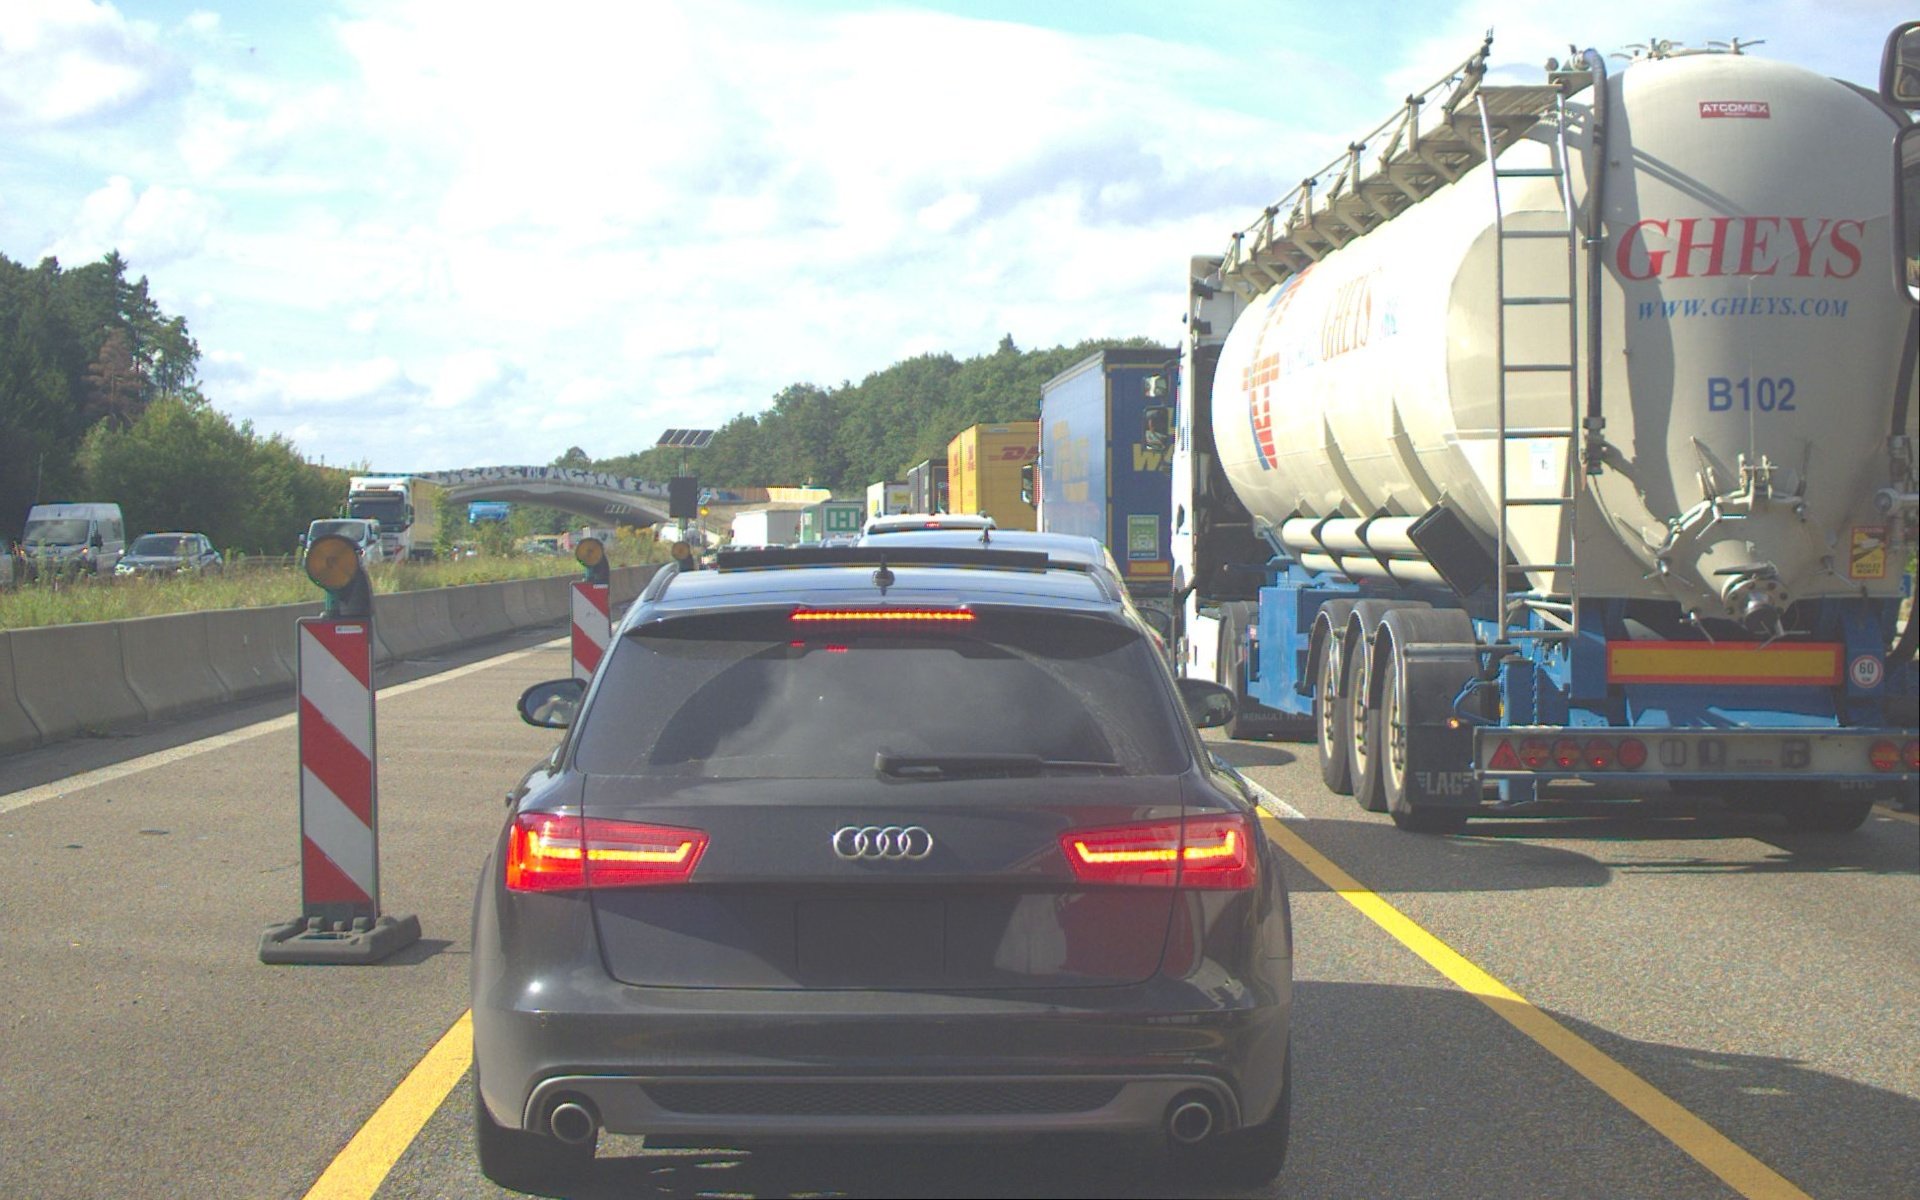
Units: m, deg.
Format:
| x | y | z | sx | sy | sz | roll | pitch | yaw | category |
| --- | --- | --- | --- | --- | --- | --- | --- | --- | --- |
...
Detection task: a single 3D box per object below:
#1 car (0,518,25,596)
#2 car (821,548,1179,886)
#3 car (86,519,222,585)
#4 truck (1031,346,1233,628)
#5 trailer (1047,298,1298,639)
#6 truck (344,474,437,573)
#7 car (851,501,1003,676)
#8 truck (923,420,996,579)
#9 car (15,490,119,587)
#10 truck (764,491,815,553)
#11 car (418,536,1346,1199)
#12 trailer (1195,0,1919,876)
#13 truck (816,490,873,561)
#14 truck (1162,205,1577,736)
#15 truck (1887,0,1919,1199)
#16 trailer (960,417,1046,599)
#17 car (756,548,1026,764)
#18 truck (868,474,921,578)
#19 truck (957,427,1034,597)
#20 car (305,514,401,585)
| x | y | z | sx | sy | sz | roll | pitch | yaw | category |
| --- | --- | --- | --- | --- | --- | --- | --- | --- | --- |
| -25.513 | -1.115 | 88.178 | 1.993 | 2.007 | 4.000 | 1 | 1 | -1 | car |
| 0.154 | 0.489 | 16.474 | 1.524 | 1.434 | 3.285 | 1 | 1 | -1 | car |
| -17.483 | -1.031 | 74.780 | 1.958 | 1.358 | 4.288 | 1 | 1 | 0 | car |
| 2.765 | -1.796 | 57.485 | 2.806 | 4.354 | 7.792 | 1 | 1 | -1 | truck |
| 2.896 | -1.771 | 50.001 | 2.805 | 4.398 | 10.433 | 1 | 1 | -1 | trailer |
| -23.103 | -3.079 | 139.683 | 2.826 | 3.895 | 5.949 | 1 | 1 | -1 | truck |
| -0.371 | -0.134 | 38.004 | 1.581 | 1.830 | 3.112 | 1 | 1 | -1 | car |
| -0.065 | -3.192 | 110.979 | 1.993 | 4.897 | 9.563 | 1 | 1 | -2 | truck |
| -25.428 | -1.738 | 98.032 | 2.250 | 2.634 | 5.021 | 1 | 1 | -8 | car |
| -11.804 | -5.405 | 237.467 | 3.303 | 4.160 | 9.704 | 1 | 1 | -4 | truck |
| -0.179 | 0.586 | 8.877 | 1.848 | 1.458 | 4.000 | 0 | 1 | -1 | car |
| 3.337 | -0.863 | 21.453 | 2.644 | 3.929 | 12.598 | 1 | 1 | -1 | trailer |
| -6.947 | -4.438 | 206.239 | 3.304 | 4.160 | 9.703 | 0 | 1 | -2 | truck |
| 3.257 | -1.004 | 28.813 | 2.659 | 3.958 | 5.779 | 1 | 1 | -1 | truck |
| 3.616 | -0.482 | 5.226 | 2.667 | 3.946 | 5.711 | 1 | 1 | -1 | truck |
| 0.926 | -2.012 | 77.282 | 1.616 | 3.905 | 6.490 | 1 | 1 | -1 | trailer |
| -0.475 | 0.347 | 24.417 | 1.751 | 1.392 | 3.608 | 1 | 1 | -1 | car |
| -2.742 | -3.064 | 144.599 | 2.137 | 4.243 | 7.072 | 1 | 1 | -1 | truck |
| 0.826 | -2.047 | 81.053 | 1.609 | 3.883 | 4.072 | 1 | 0 | -1 | truck |
| -17.851 | -1.469 | 101.226 | 1.993 | 2.007 | 4.832 | 1 | 1 | -1 | car |
